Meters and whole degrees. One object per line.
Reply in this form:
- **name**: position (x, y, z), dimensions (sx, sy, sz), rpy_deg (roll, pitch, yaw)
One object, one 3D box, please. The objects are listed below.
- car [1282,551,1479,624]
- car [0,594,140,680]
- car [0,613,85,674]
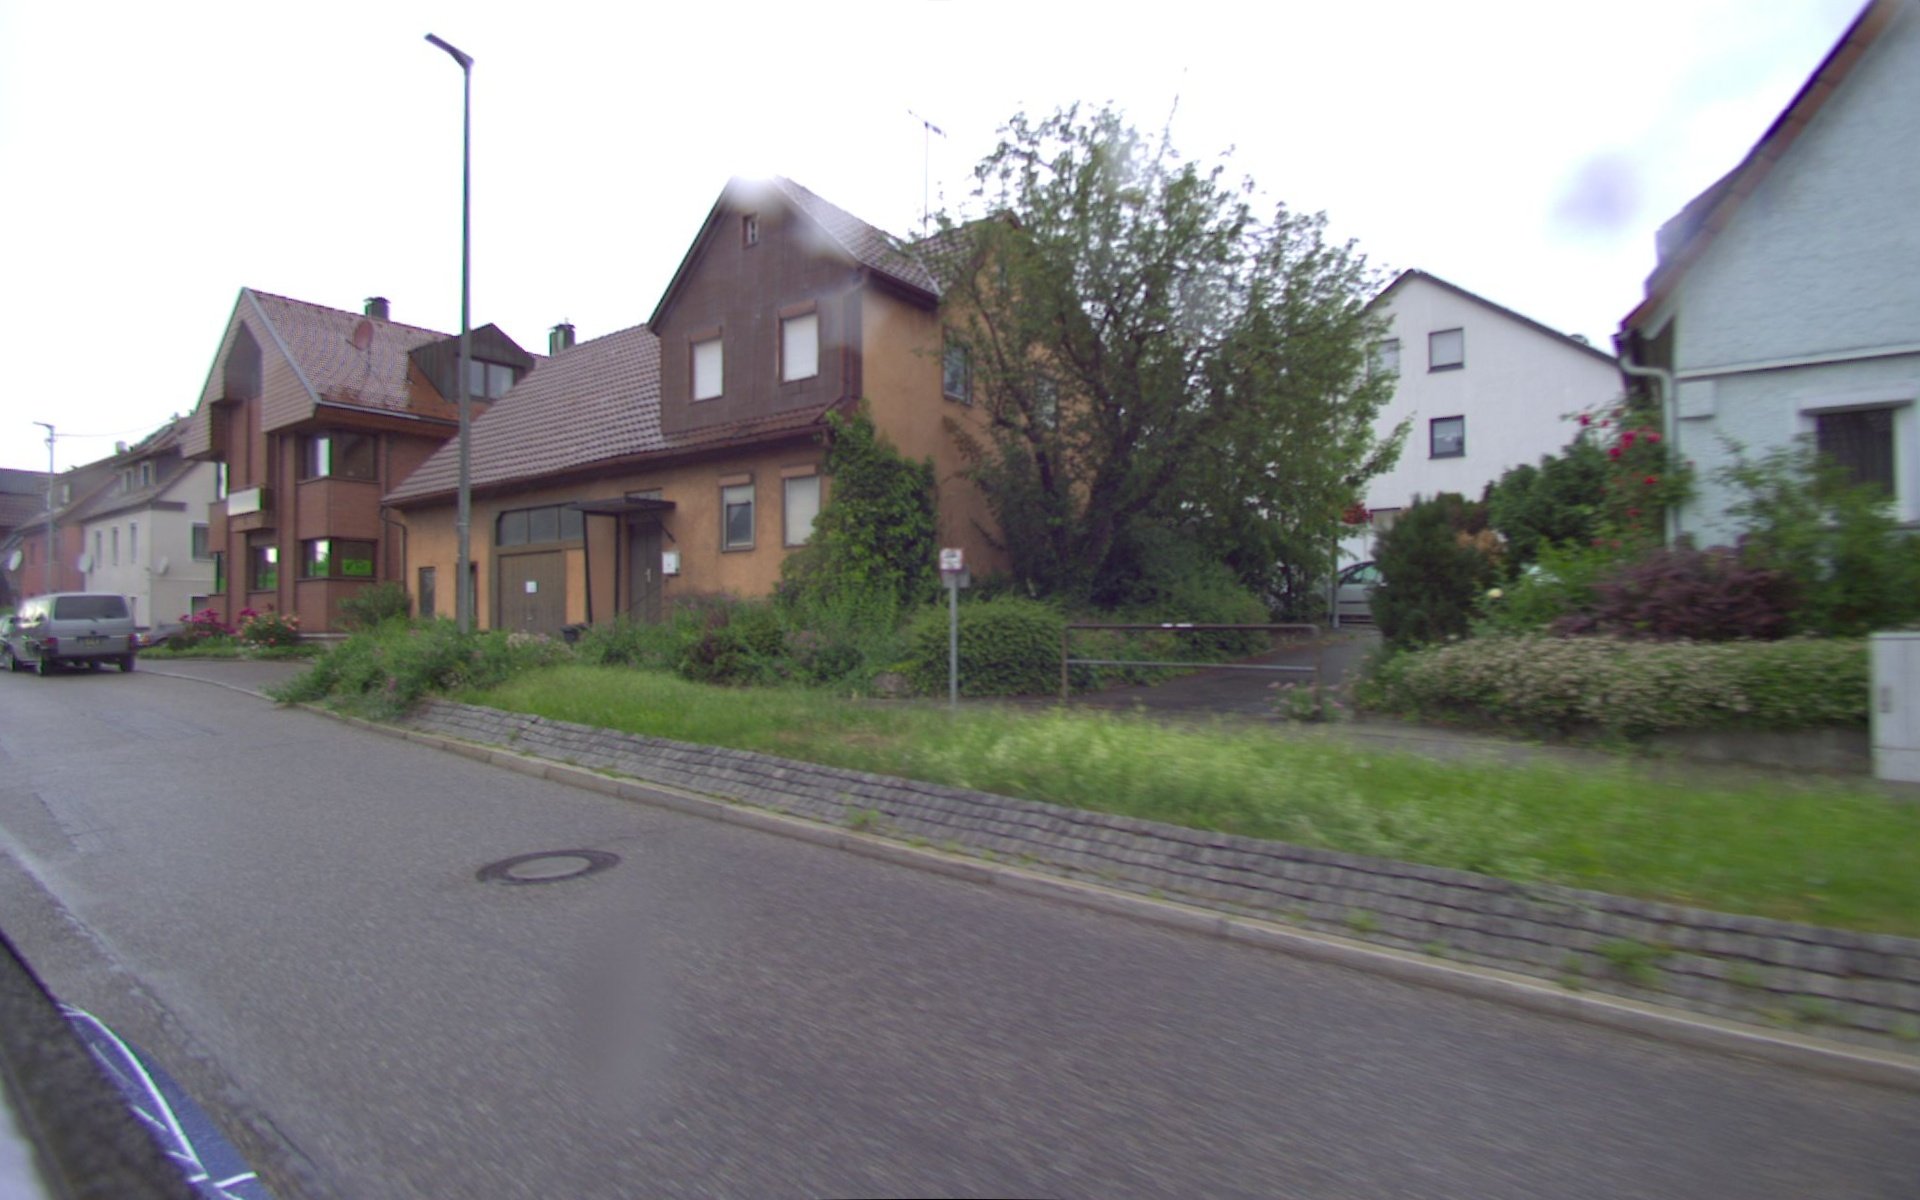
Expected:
- **car**: position (10.038, -0.265, 24.277), dimensions (3.997, 1.604, 1.800), rpy_deg (-1, 1, 40)
- **car**: position (-22.191, 0.882, 25.156), dimensions (4.183, 1.937, 1.824), rpy_deg (-1, 0, 37)
- **car**: position (-26.087, 1.170, 28.242), dimensions (3.658, 1.586, 1.790), rpy_deg (-1, -1, 37)
